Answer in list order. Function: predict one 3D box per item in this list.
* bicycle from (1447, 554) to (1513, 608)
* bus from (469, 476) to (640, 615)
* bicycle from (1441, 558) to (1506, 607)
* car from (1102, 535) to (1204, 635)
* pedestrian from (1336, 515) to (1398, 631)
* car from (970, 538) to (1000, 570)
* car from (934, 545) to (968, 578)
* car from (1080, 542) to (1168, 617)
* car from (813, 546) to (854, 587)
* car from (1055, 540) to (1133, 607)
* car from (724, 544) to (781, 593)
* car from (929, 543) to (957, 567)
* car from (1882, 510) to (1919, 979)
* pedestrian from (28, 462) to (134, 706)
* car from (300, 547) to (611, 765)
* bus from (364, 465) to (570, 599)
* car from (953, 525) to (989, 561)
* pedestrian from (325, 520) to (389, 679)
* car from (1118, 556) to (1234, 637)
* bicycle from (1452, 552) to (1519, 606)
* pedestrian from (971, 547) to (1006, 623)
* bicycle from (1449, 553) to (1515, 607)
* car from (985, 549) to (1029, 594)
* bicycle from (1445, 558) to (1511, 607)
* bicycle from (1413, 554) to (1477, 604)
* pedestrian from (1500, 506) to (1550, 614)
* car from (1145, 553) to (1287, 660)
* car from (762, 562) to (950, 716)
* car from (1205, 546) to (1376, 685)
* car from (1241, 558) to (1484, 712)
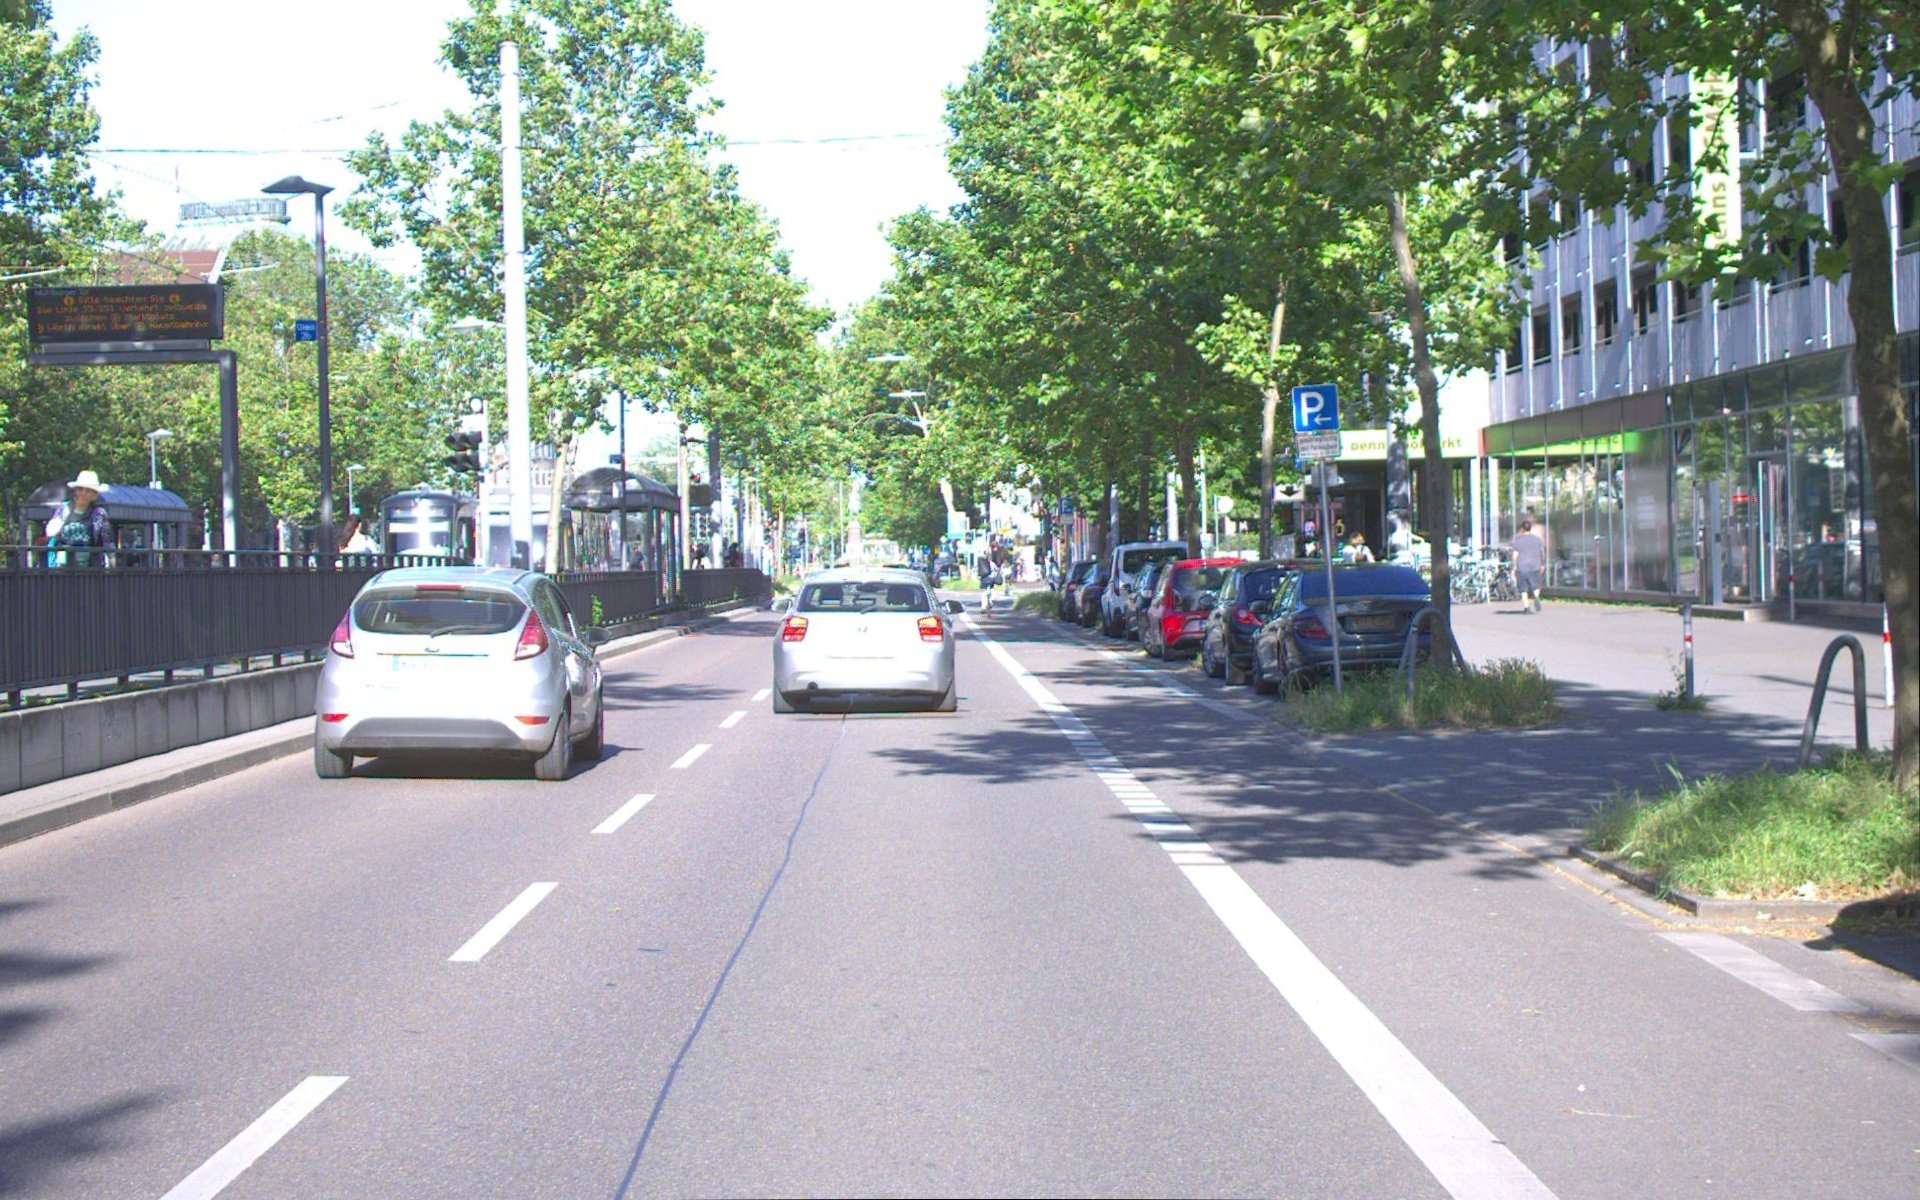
[{"bbox_3d":[11.361,-0.420,75.176,1.383,1.144,0.243,1,1,-1],"label":"bicycle"},{"bbox_3d":[-11.449,-1.623,99.025,2.750,3.613,18.848,0,1,0],"label":"bus"},{"bbox_3d":[11.327,-0.387,75.820,1.383,1.055,0.243,1,1,-1],"label":"bicycle"},{"bbox_3d":[3.759,-0.312,67.433,1.724,1.874,4.000,1,1,0],"label":"car"},{"bbox_3d":[7.175,-0.478,60.602,0.963,2.007,0.938,0,1,0],"label":"pedestrian"},{"bbox_3d":[1.621,-2.979,223.939,1.875,2.007,3.711,1,1,0],"label":"car"},{"bbox_3d":[-0.536,-2.374,213.241,2.071,2.007,4.000,0,1,0],"label":"car"},{"bbox_3d":[3.625,-0.472,76.411,1.711,1.557,4.000,1,1,0],"label":"car"},{"bbox_3d":[-6.502,-1.752,177.089,1.993,2.007,4.000,1,1,0],"label":"car"},{"bbox_3d":[3.241,-0.655,83.706,1.700,1.529,3.717,1,1,0],"label":"car"},{"bbox_3d":[-8.153,-1.261,135.244,1.993,1.810,4.000,1,1,0],"label":"car"},{"bbox_3d":[-1.214,-3.272,250.170,1.993,1.692,4.000,0,1,0],"label":"car"},{"bbox_3d":[4.241,0.549,10.538,1.692,1.652,4.040,-1,2,-1],"label":"car"},{"bbox_3d":[-7.146,-0.140,27.978,0.639,1.947,0.814,1,1,0],"label":"pedestrian"},{"bbox_3d":[-3.491,0.338,24.363,1.646,1.358,3.760,1,1,0],"label":"car"},{"bbox_3d":[-14.735,-2.094,105.379,2.869,3.616,24.605,0,1,0],"label":"bus"},{"bbox_3d":[0.648,-3.325,200.969,1.993,2.007,4.000,-1,1,-1],"label":"car"},{"bbox_3d":[-7.505,-0.015,42.799,0.639,1.947,0.814,1,1,0],"label":"pedestrian"},{"bbox_3d":[3.834,-0.074,61.604,1.781,1.376,4.000,1,0,0],"label":"car"},{"bbox_3d":[11.390,-0.461,74.475,1.383,1.144,0.243,1,1,-1],"label":"bicycle"},{"bbox_3d":[0.757,-0.402,92.109,0.838,2.007,0.648,1,1,7],"label":"pedestrian"},{"bbox_3d":[11.358,-0.433,74.837,1.383,1.144,0.243,1,1,-1],"label":"bicycle"},{"bbox_3d":[2.217,-1.365,163.744,1.993,2.007,4.000,1,1,0],"label":"car"},{"bbox_3d":[11.368,-0.381,75.495,1.383,1.052,0.243,1,1,-1],"label":"bicycle"},{"bbox_3d":[10.997,-0.482,77.920,1.383,1.094,0.243,1,1,-1],"label":"bicycle"},{"bbox_3d":[10.608,-0.754,64.532,0.788,2.007,0.891,0,1,0],"label":"pedestrian"},{"bbox_3d":[3.826,0.078,51.929,1.806,1.515,4.000,1,0,0],"label":"car"},{"bbox_3d":[-1.028,0.349,34.538,1.762,1.427,4.000,1,1,-1],"label":"car"},{"bbox_3d":[3.999,0.149,42.116,1.669,1.546,4.000,1,1,0],"label":"car"},{"bbox_3d":[4.200,0.339,36.561,1.993,1.504,4.598,1,0,0],"label":"car"}]
